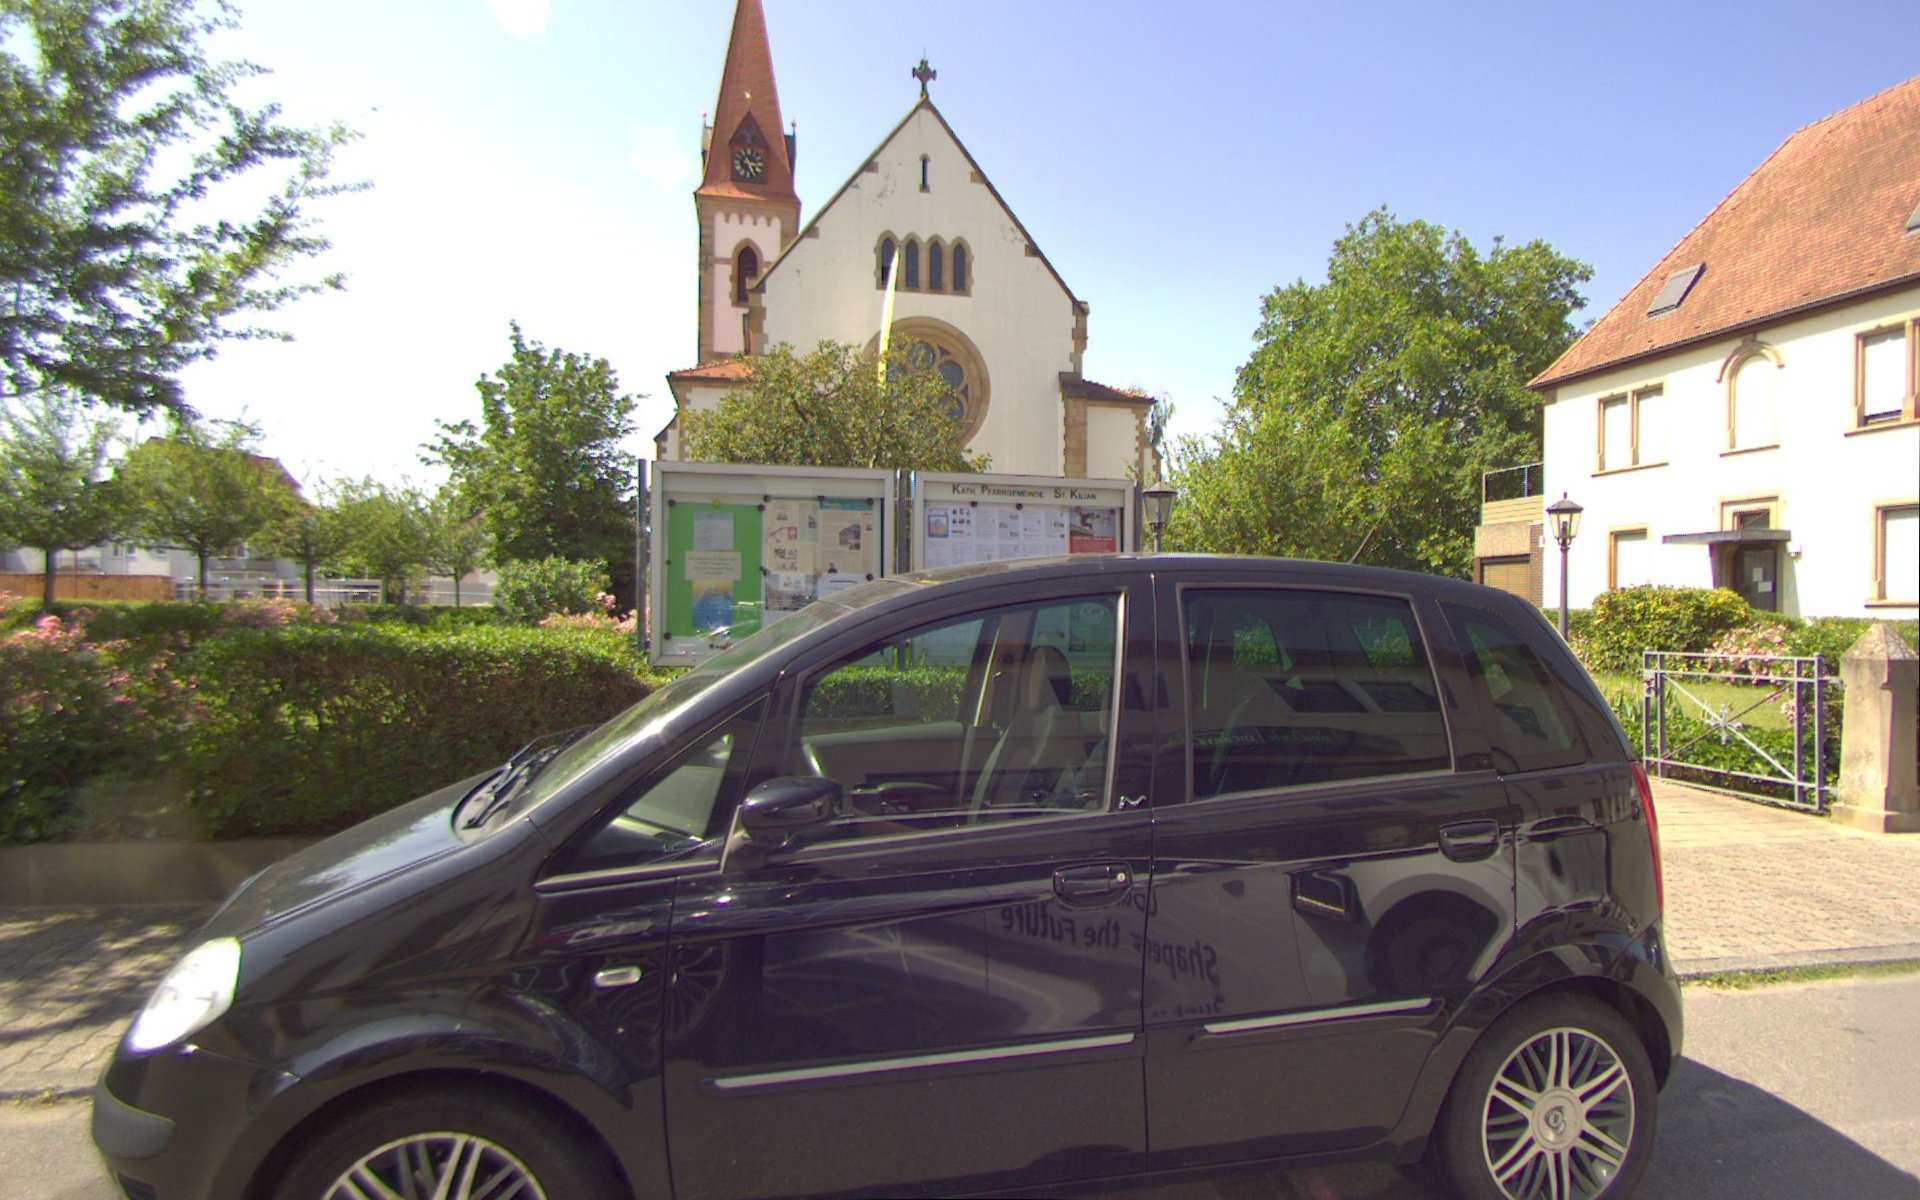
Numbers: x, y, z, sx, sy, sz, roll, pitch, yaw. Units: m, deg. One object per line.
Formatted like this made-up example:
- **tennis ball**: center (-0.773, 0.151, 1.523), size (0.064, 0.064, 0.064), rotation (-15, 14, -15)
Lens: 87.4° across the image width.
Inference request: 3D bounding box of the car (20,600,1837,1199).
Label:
- **car**: center (0.126, 0.840, 2.821), size (3.702, 1.650, 1.639), rotation (0, -1, -12)
